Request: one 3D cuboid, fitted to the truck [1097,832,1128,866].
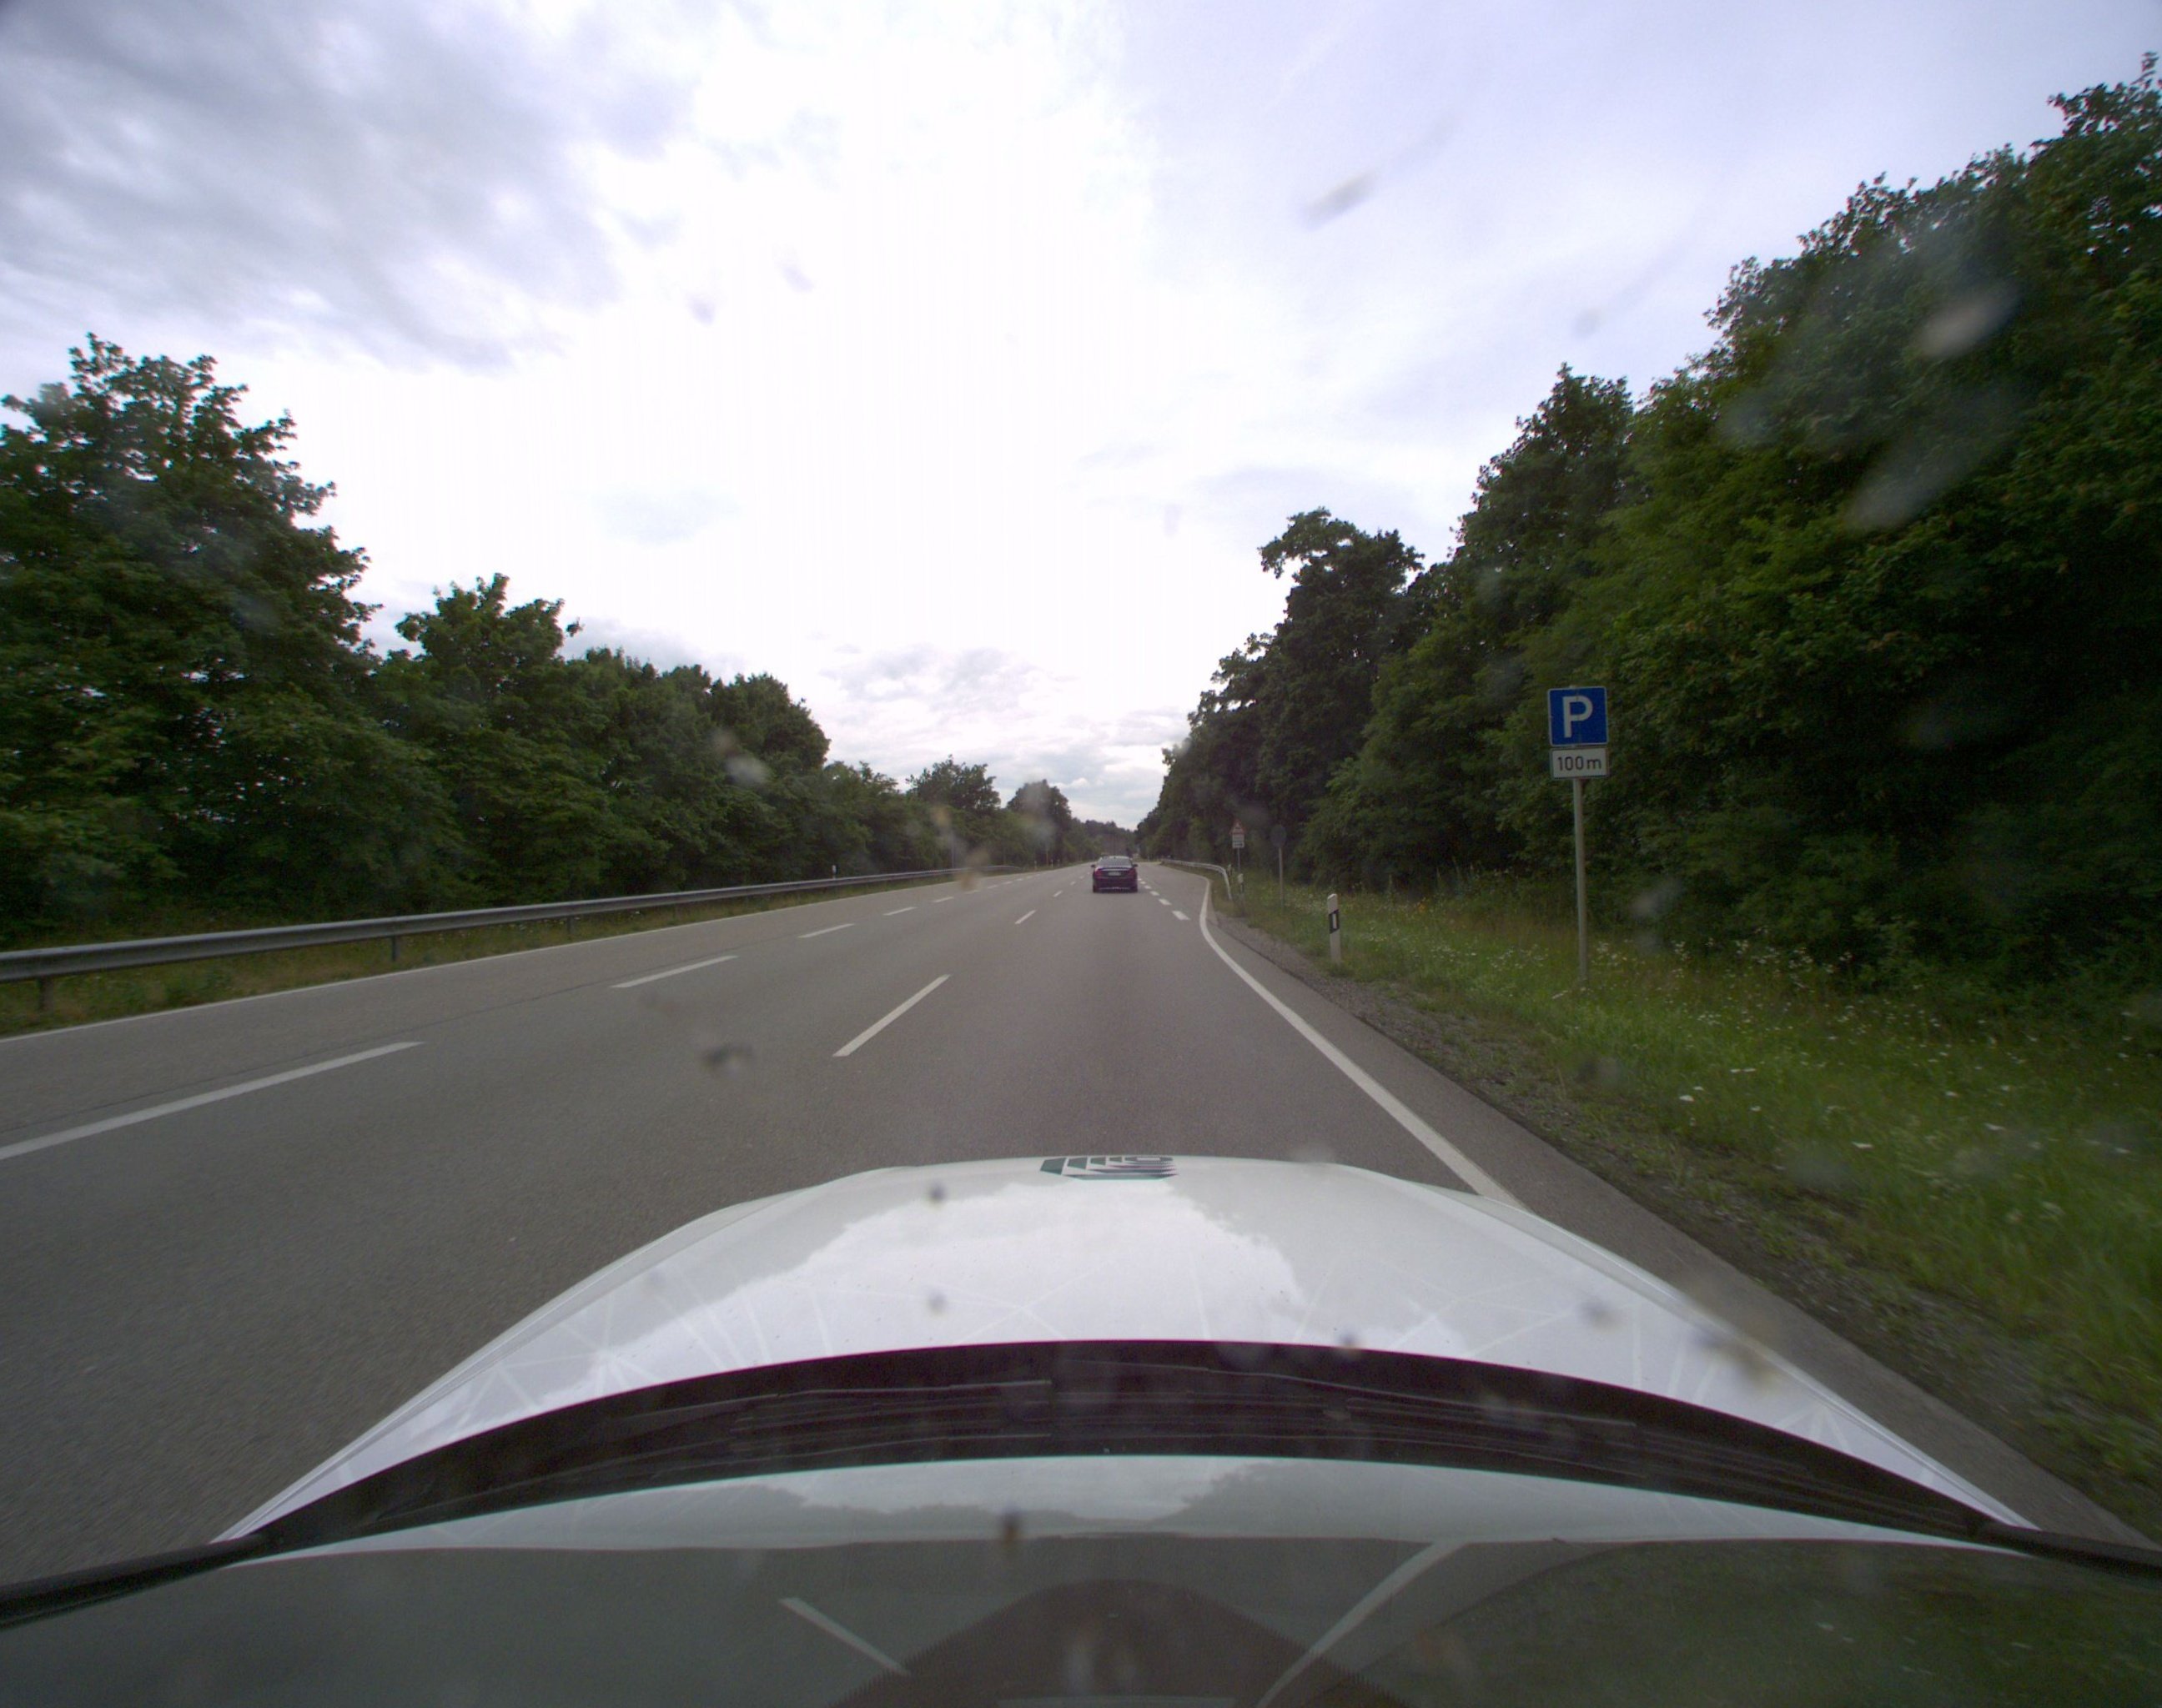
[{"bbox_3d":[3.538,-0.508,92.183,3.269,3.611,11.403,-1,0,2],"label":"truck"}]

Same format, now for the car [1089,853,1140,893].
[{"bbox_3d":[1.346,0.743,34.061,1.787,1.552,3.996,-1,0,-2],"label":"car"}]
